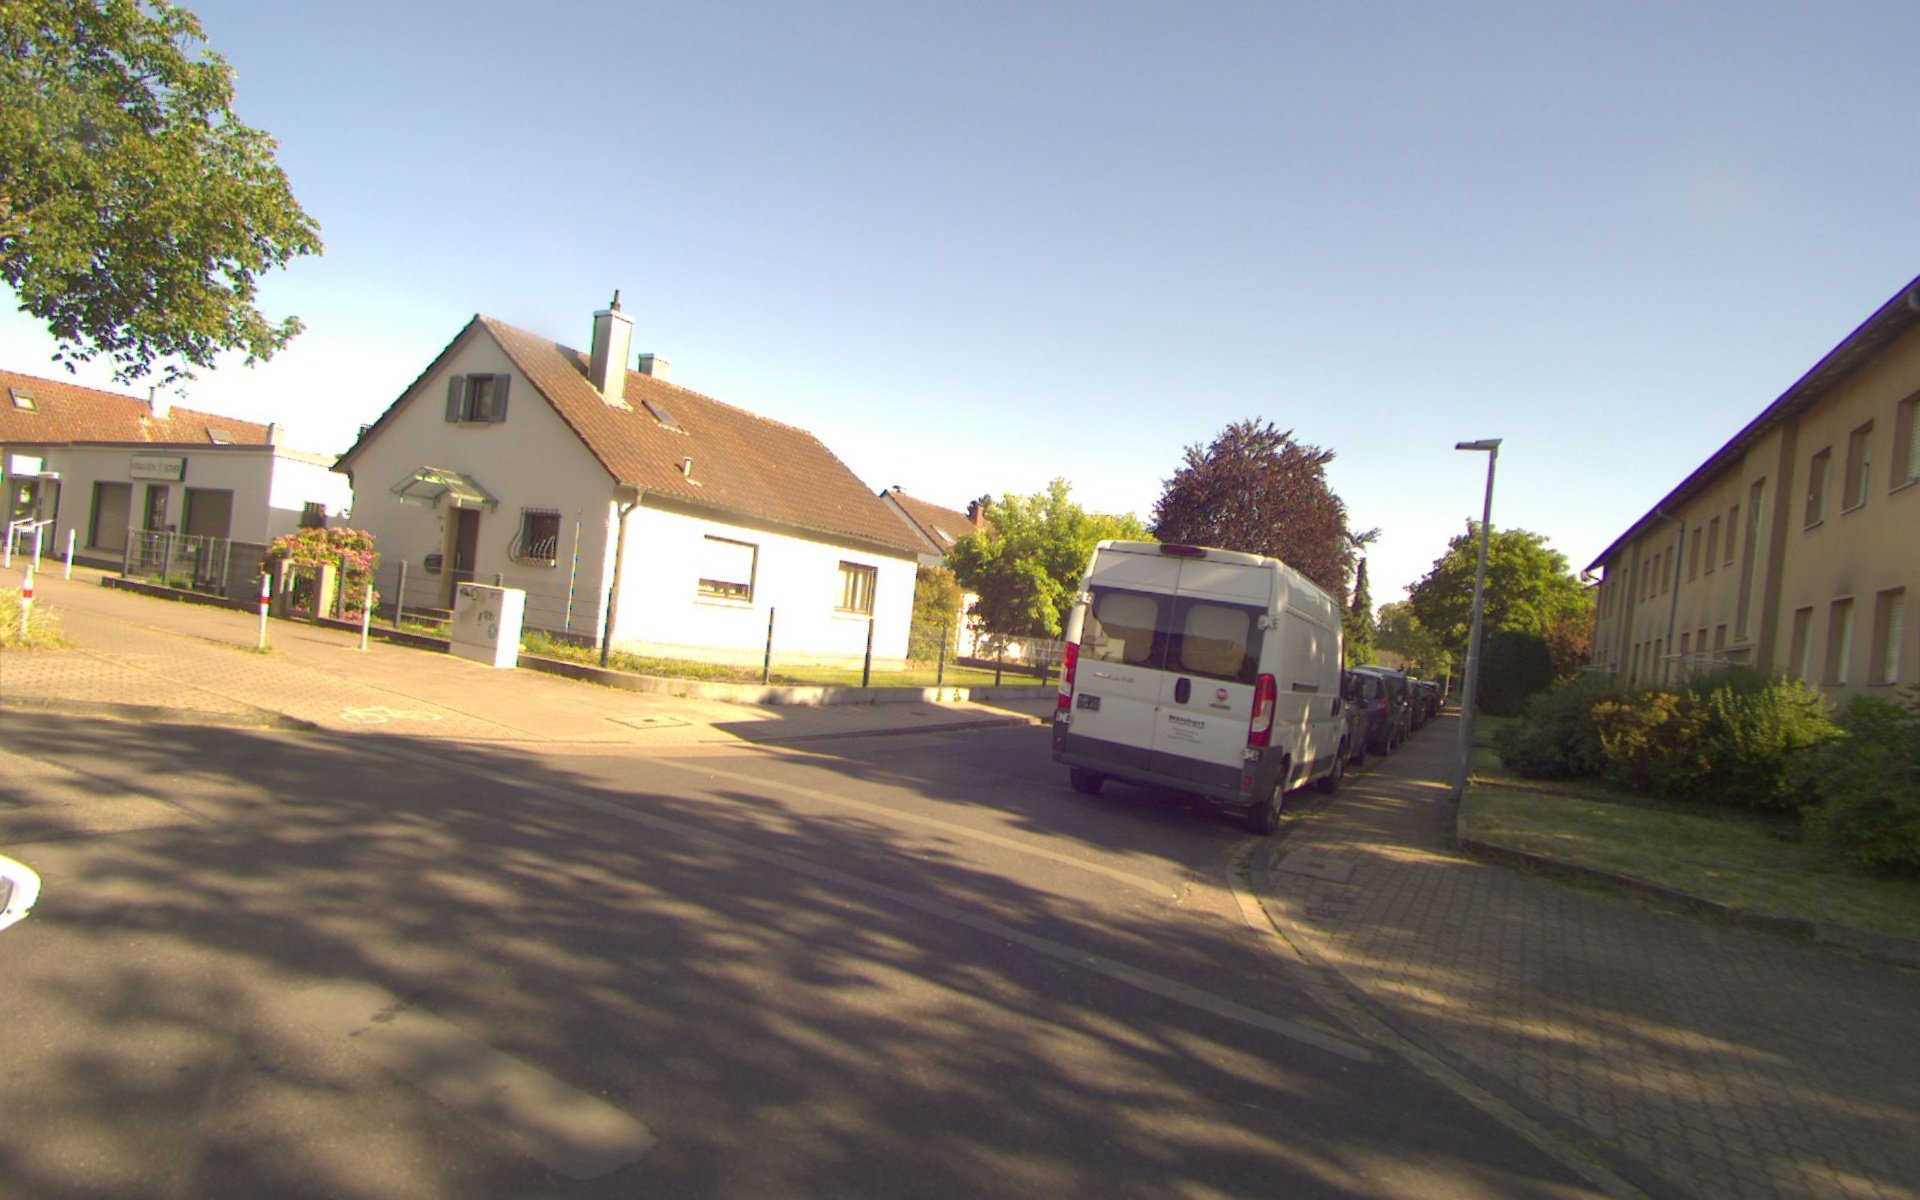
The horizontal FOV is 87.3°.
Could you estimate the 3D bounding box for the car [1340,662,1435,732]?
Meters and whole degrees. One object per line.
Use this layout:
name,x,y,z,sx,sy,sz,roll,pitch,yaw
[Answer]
car,13.548,3.088,31.722,2.245,1.706,4.755,8,-2,27

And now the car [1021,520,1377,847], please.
car,3.022,0.858,11.292,2.227,2.569,5.606,7,-1,29

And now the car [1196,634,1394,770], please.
car,5.673,1.670,16.564,2.245,1.599,4.755,8,-2,27

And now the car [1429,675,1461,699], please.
car,43.114,7.728,89.357,2.245,1.666,4.755,8,-2,27

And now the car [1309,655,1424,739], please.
car,10.855,2.576,26.639,2.245,1.706,4.755,8,-2,27

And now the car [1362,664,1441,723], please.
car,16.499,3.506,37.445,2.245,1.706,4.755,8,-2,27

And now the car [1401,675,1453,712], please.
car,26.162,5.253,56.268,2.245,1.666,4.755,8,-2,27

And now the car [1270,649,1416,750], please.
car,8.303,2.125,21.522,2.245,1.599,4.755,8,-2,27

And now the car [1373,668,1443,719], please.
car,18.761,3.941,41.961,2.245,1.666,4.755,8,-2,27

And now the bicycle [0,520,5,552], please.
bicycle,-31.414,-2.122,31.595,0.566,1.011,1.926,8,1,29

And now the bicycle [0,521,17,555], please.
bicycle,-30.592,-2.009,31.092,0.566,1.011,1.960,8,1,29
